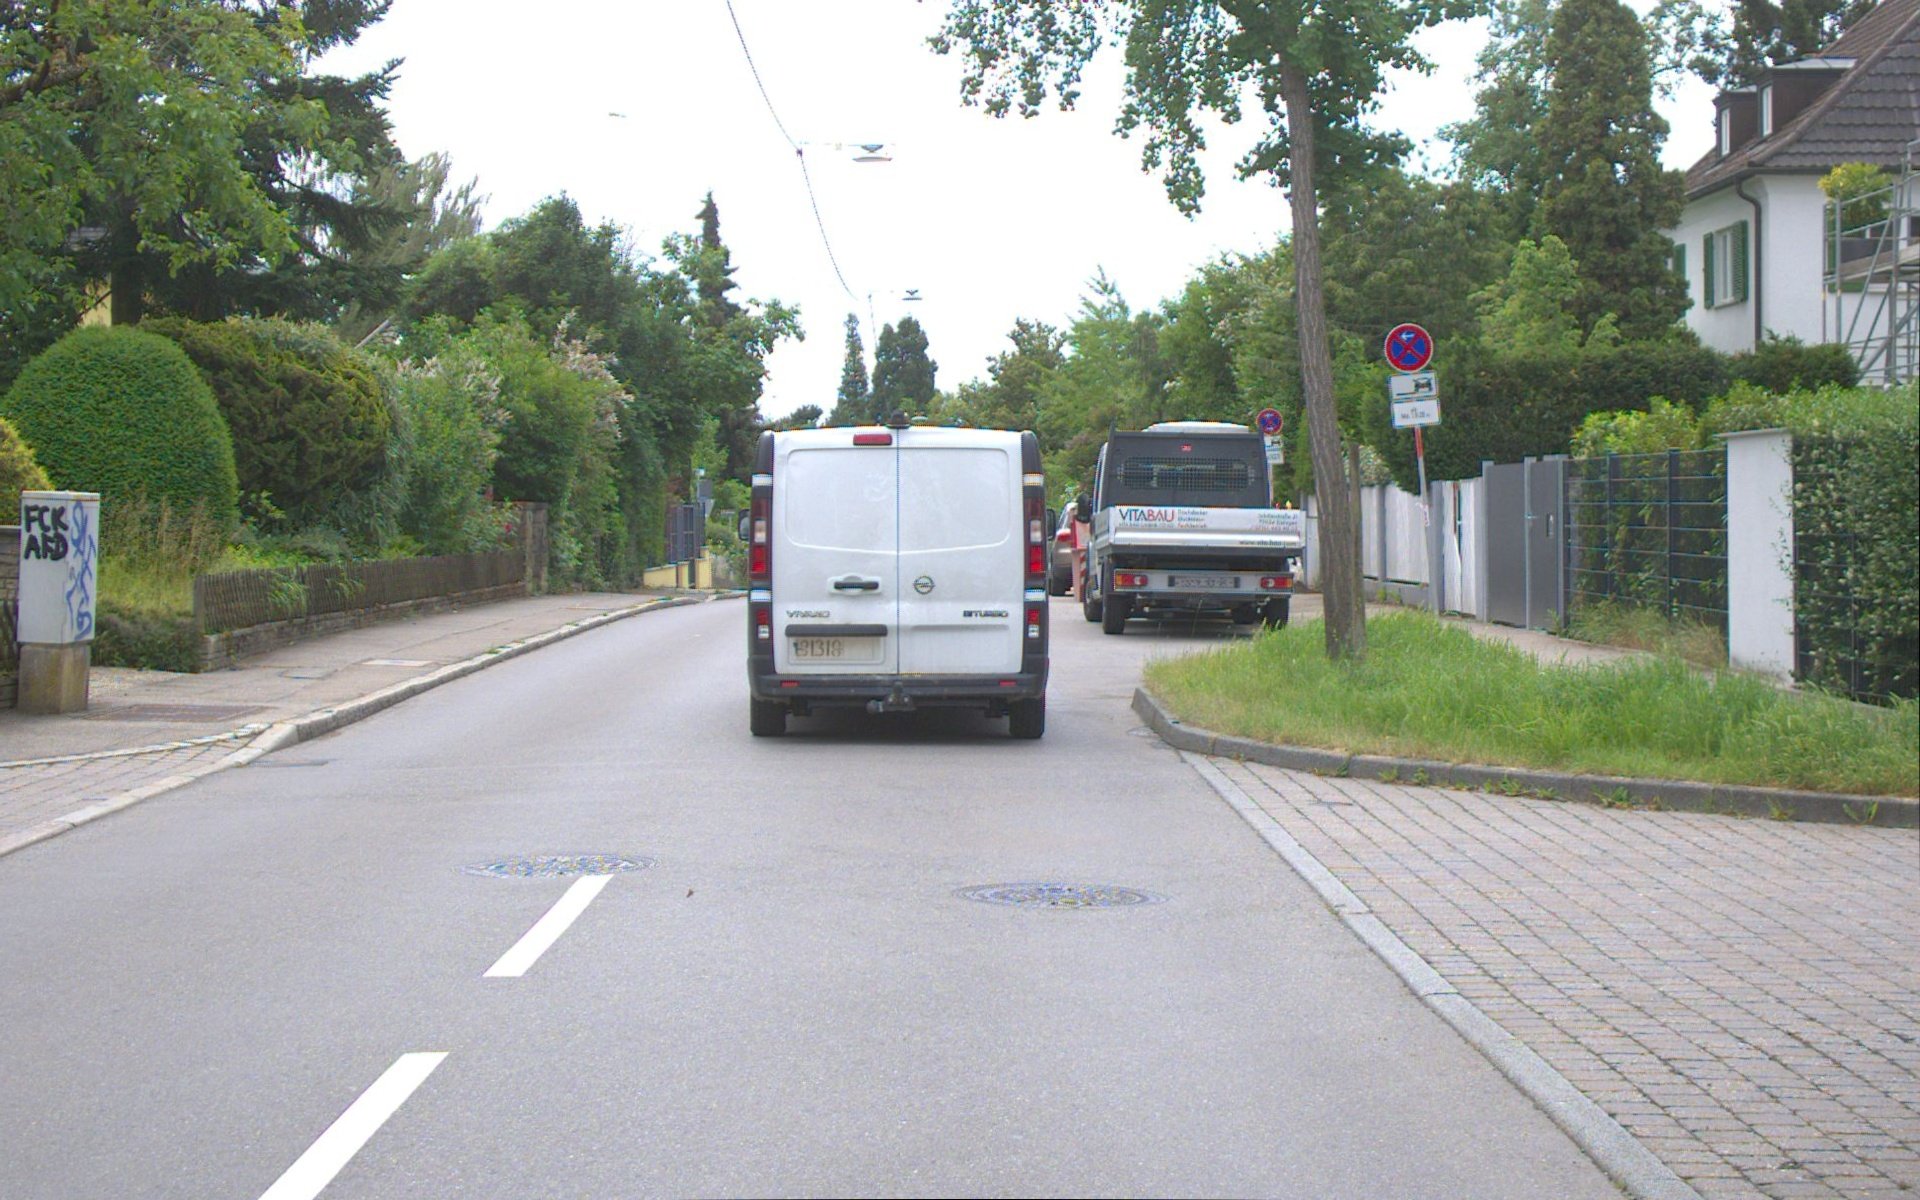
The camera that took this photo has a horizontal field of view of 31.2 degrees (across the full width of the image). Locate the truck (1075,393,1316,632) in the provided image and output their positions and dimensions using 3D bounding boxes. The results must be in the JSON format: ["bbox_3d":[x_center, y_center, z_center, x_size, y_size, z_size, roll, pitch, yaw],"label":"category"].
[{"bbox_3d":[2.581,-1.015,39.622,2.187,2.463,7.431,1,1,0],"label":"truck"}]

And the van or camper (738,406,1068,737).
[{"bbox_3d":[-0.373,-0.184,22.806,1.939,1.947,4.765,1,0,-1],"label":"van or camper"}]

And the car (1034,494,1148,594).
[{"bbox_3d":[2.253,-0.989,60.229,1.744,1.669,4.185,-1,1,-1],"label":"car"}]
